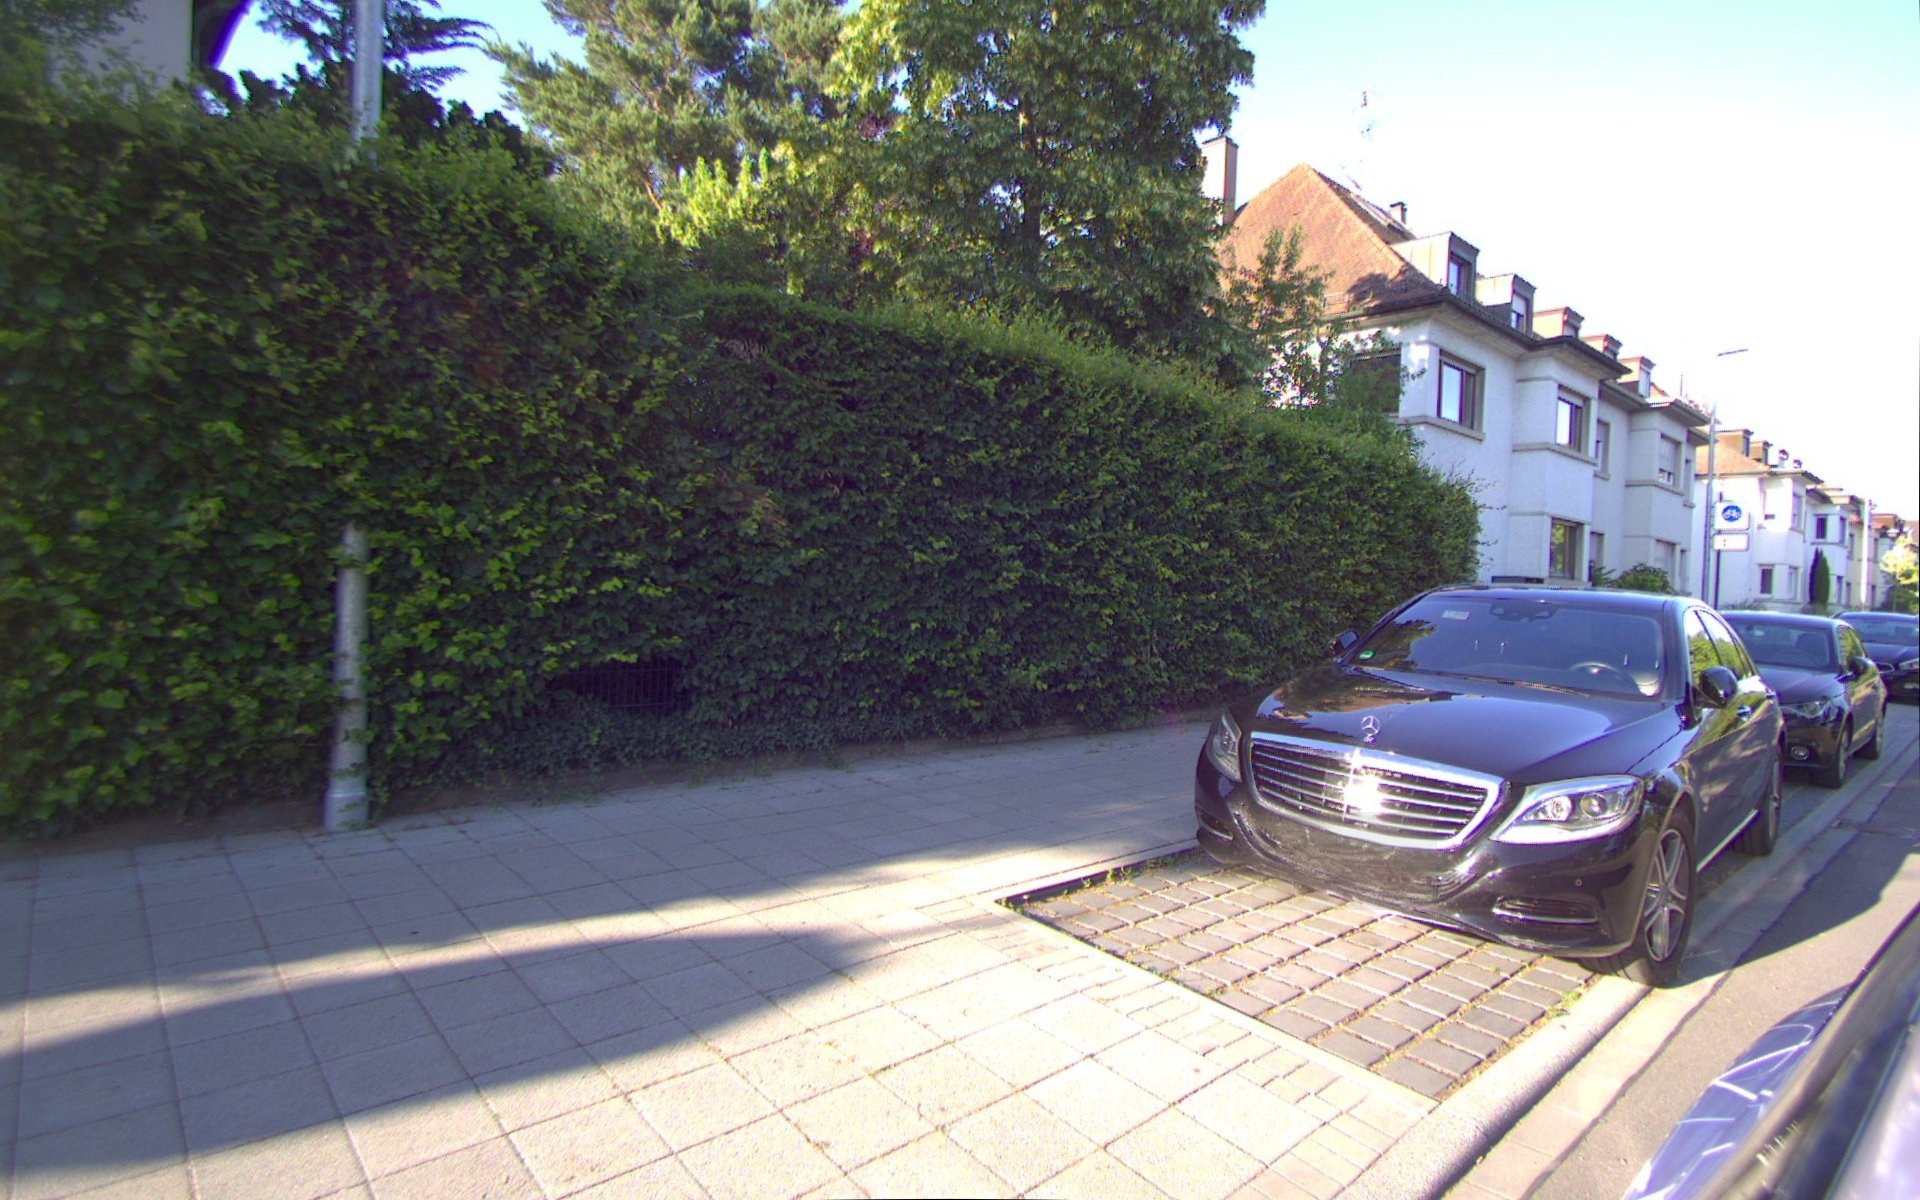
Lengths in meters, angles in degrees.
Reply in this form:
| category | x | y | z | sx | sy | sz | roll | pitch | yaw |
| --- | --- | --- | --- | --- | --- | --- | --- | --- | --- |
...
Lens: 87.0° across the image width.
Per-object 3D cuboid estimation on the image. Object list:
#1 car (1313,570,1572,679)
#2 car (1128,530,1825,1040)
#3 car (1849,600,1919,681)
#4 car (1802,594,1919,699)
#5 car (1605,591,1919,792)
| category | x | y | z | sx | sy | sz | roll | pitch | yaw |
| --- | --- | --- | --- | --- | --- | --- | --- | --- | --- |
| car | 8.317 | 0.352 | 17.626 | 3.637 | 1.514 | 1.752 | 6 | 4 | 45 |
| car | 3.137 | 0.545 | 5.492 | 4.792 | 1.561 | 1.861 | 0 | 3 | -44 |
| car | 19.891 | 0.823 | 20.997 | 3.916 | 1.489 | 1.721 | 1 | 4 | -43 |
| car | 16.042 | 0.741 | 17.440 | 4.183 | 1.492 | 1.750 | 1 | 5 | -43 |
| car | 7.781 | 0.714 | 9.687 | 3.868 | 1.445 | 1.644 | 1 | 3 | -42 |
